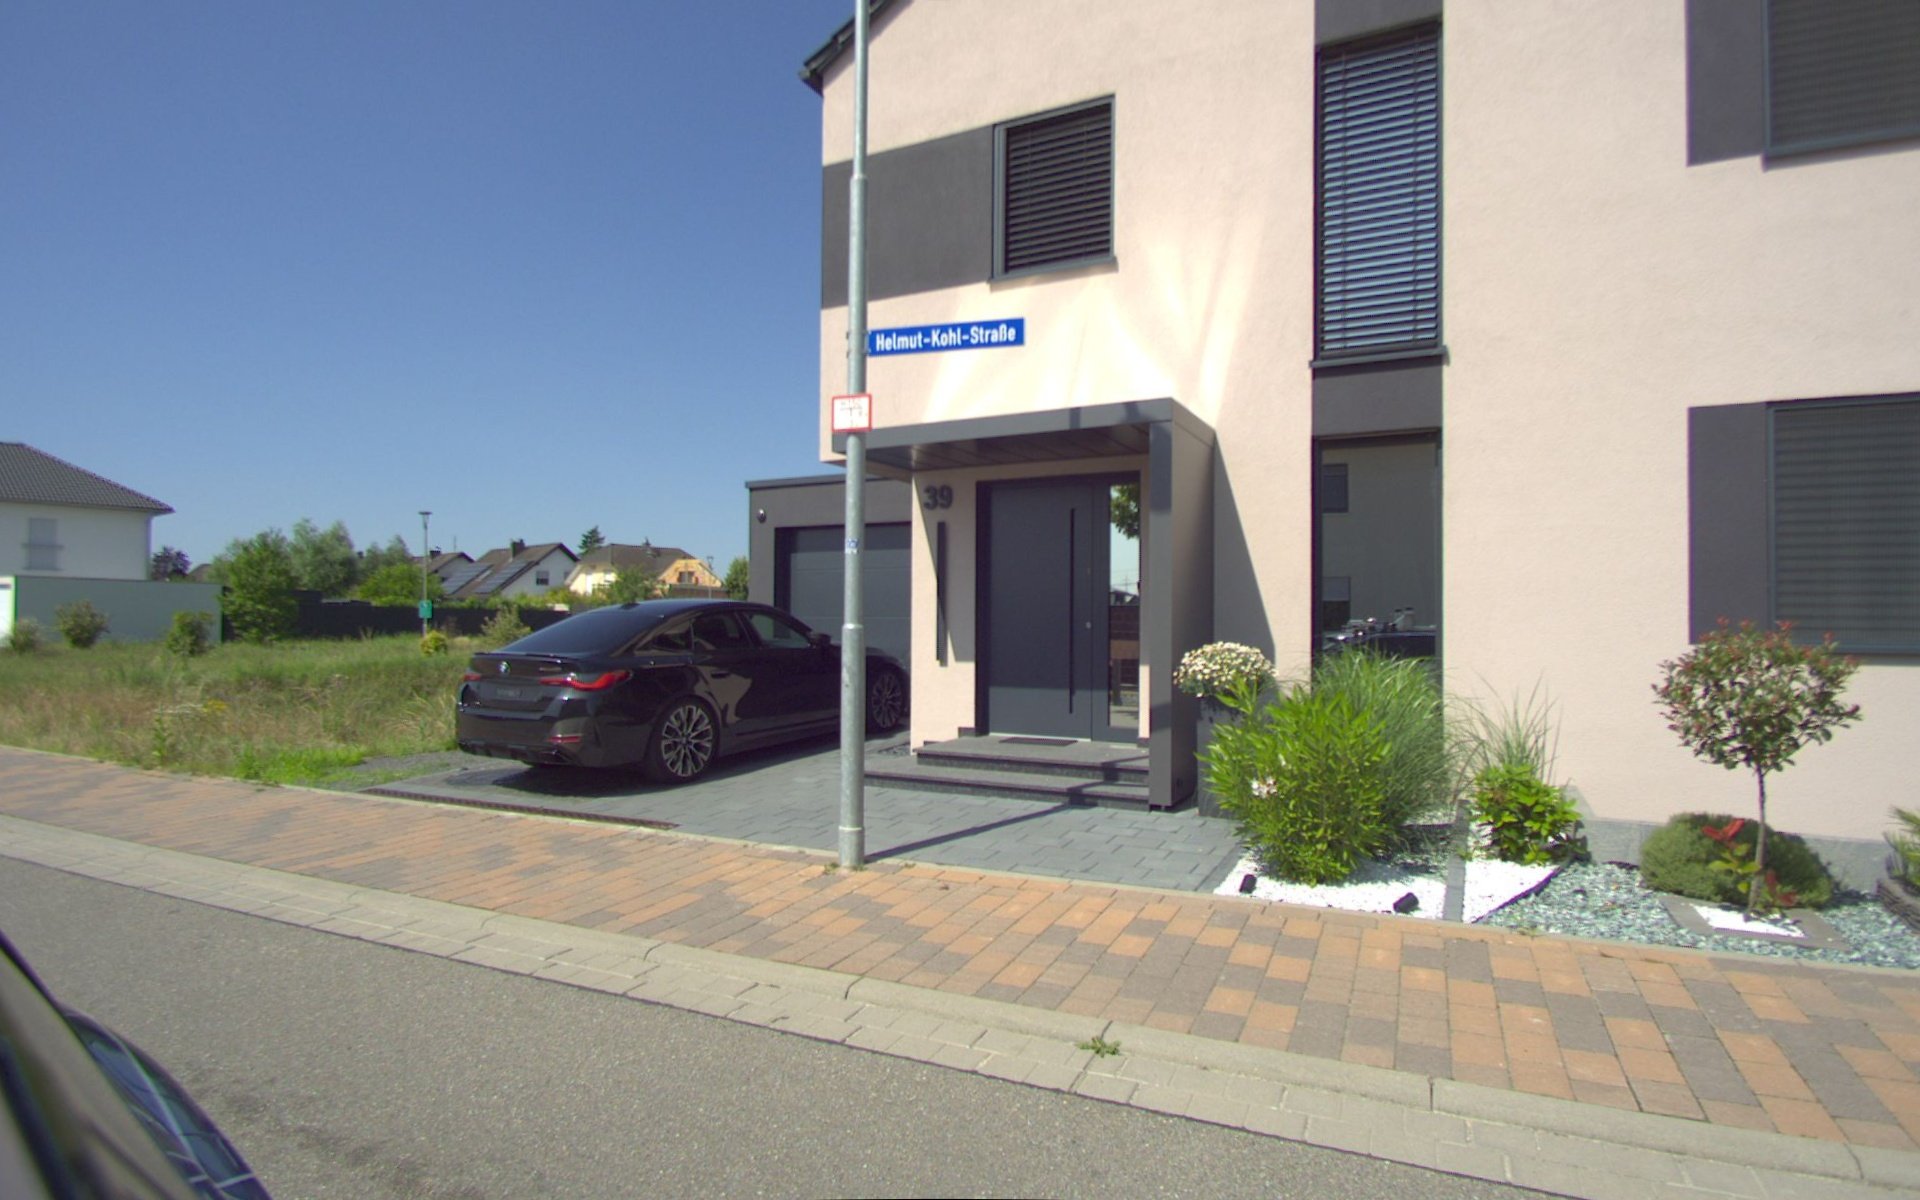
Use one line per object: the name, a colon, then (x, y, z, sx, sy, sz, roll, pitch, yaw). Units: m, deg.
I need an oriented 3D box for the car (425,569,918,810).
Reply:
car: (-2.285, 0.637, 9.240, 1.764, 1.644, 4.345, -1, -1, 30)
